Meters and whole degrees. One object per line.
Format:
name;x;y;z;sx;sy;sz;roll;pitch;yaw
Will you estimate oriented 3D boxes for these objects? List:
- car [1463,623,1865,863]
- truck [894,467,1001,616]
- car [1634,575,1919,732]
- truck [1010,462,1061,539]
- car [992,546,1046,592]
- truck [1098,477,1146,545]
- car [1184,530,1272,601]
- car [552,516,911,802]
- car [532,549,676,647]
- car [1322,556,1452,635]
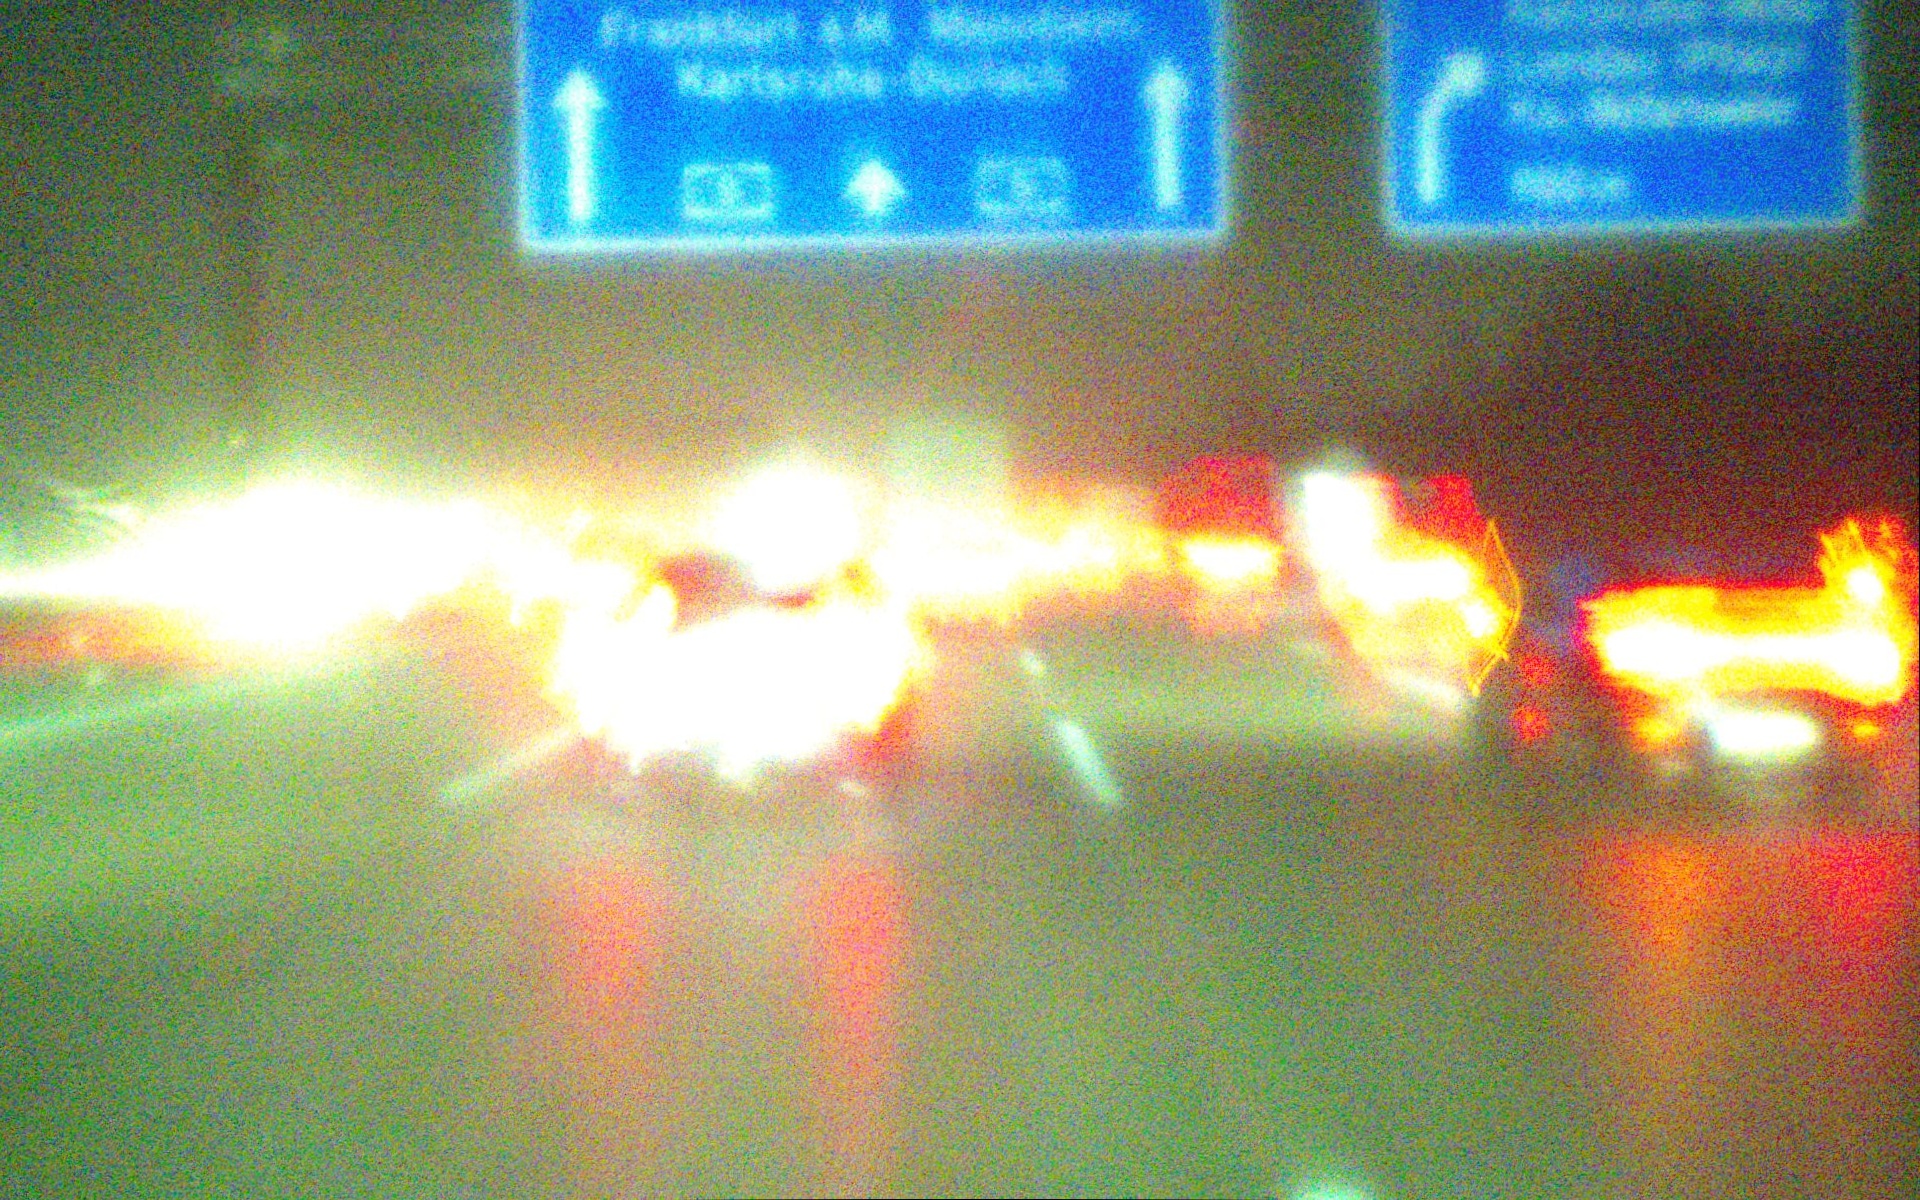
car;4.101;0.799;20.464;1.580;1.242;3.069;0;1;-4
truck;-0.222;-1.267;75.332;1.993;3.032;6.465;-3;1;2
car;6.997;0.427;29.638;1.580;1.242;3.069;0;1;-4
truck;3.227;-4.204;146.364;1.993;3.032;6.465;-3;1;2
car;2.140;-1.128;123.410;1.863;1.612;4.000;0;1;2
truck;7.647;-4.156;162.534;1.993;3.032;6.465;-3;1;2
car;6.288;-0.819;80.960;1.863;1.612;4.000;0;1;2
car;-1.226;0.267;19.967;1.802;1.482;4.000;0;1;0
car;-4.930;-0.042;47.997;1.662;1.232;3.762;-3;1;-1
car;7.045;-0.088;56.953;1.580;1.242;3.069;0;1;-4
